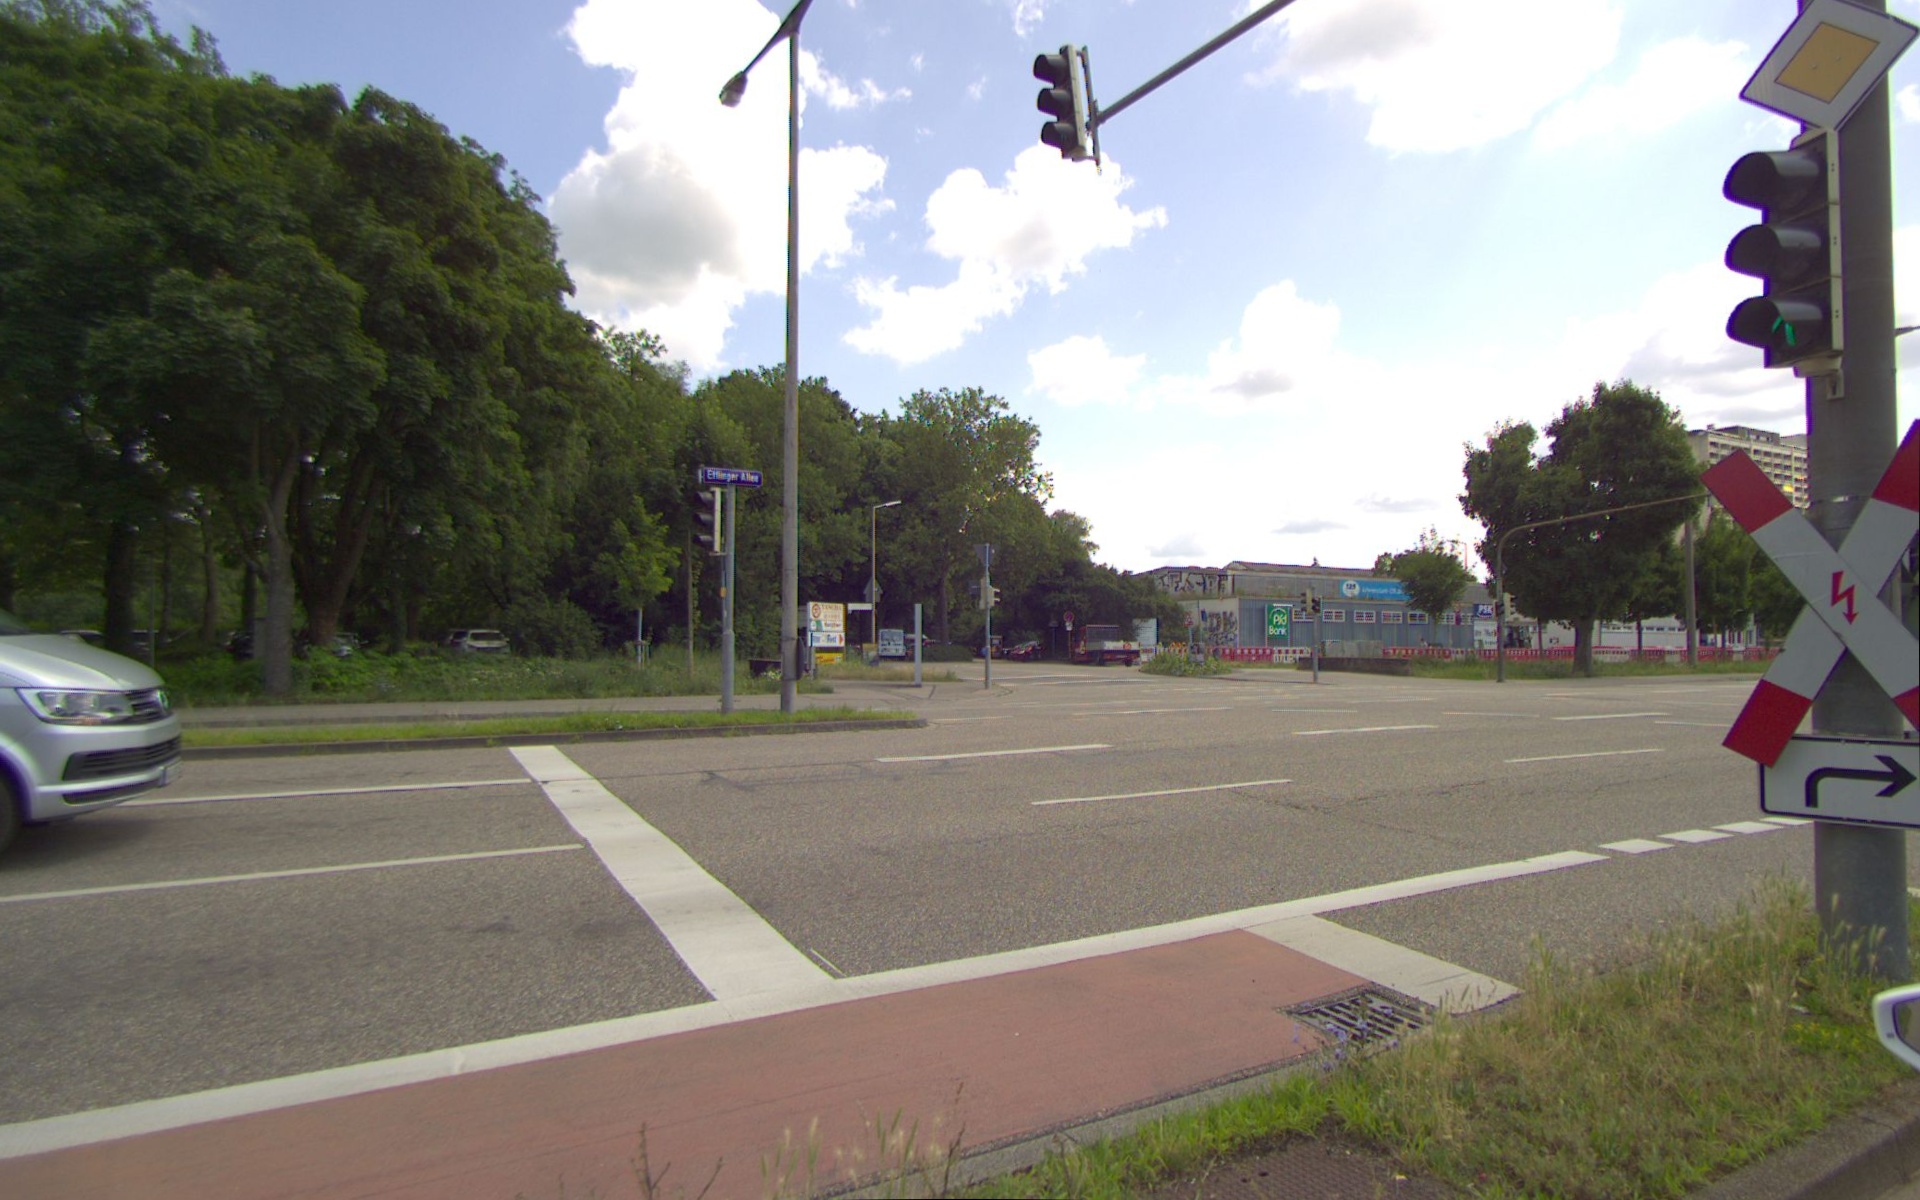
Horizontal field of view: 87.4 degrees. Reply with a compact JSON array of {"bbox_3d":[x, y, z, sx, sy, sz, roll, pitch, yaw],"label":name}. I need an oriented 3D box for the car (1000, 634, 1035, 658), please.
[{"bbox_3d":[4.413,3.523,77.431,1.682,1.810,3.991,1,-2,-12],"label":"car"}]

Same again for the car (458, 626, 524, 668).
[{"bbox_3d":[-20.734,2.075,44.584,2.042,1.748,4.114,1,-3,-16],"label":"car"}]

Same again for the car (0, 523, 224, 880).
[{"bbox_3d":[-7.308,0.544,5.375,5.167,1.943,1.806,1,-3,-29],"label":"car"}]

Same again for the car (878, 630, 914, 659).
[{"bbox_3d":[-4.141,2.837,64.586,1.903,1.817,3.613,1,-1,-10],"label":"car"}]

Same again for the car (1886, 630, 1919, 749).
[{"bbox_3d":[14.194,1.137,12.998,4.374,1.485,1.750,1,-2,-26],"label":"car"}]

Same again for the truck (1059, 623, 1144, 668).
[{"bbox_3d":[8.197,2.674,59.133,2.985,2.471,6.976,0,-2,-10],"label":"truck"}]

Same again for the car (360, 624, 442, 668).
[{"bbox_3d":[-23.486,1.944,42.401,2.013,1.748,4.563,1,-3,-16],"label":"car"}]

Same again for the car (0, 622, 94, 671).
[{"bbox_3d":[-31.543,1.533,33.406,3.941,1.565,2.002,0,-2,8],"label":"car"}]

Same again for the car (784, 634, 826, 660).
[{"bbox_3d":[-9.719,2.930,62.806,1.599,1.528,3.595,2,-2,-27],"label":"car"}]

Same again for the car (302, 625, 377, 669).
[{"bbox_3d":[-25.644,1.921,41.638,1.791,1.732,4.110,1,-2,-20],"label":"car"}]

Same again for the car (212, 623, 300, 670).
[{"bbox_3d":[-27.950,1.843,40.031,1.791,1.750,4.110,1,-2,-20],"label":"car"}]

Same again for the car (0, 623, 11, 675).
[{"bbox_3d":[-32.002,1.566,30.937,3.941,1.608,2.002,-2,-3,8],"label":"car"}]

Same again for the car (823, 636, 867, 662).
[{"bbox_3d":[-7.357,3.122,63.875,1.599,1.528,3.595,2,-2,-27],"label":"car"}]
